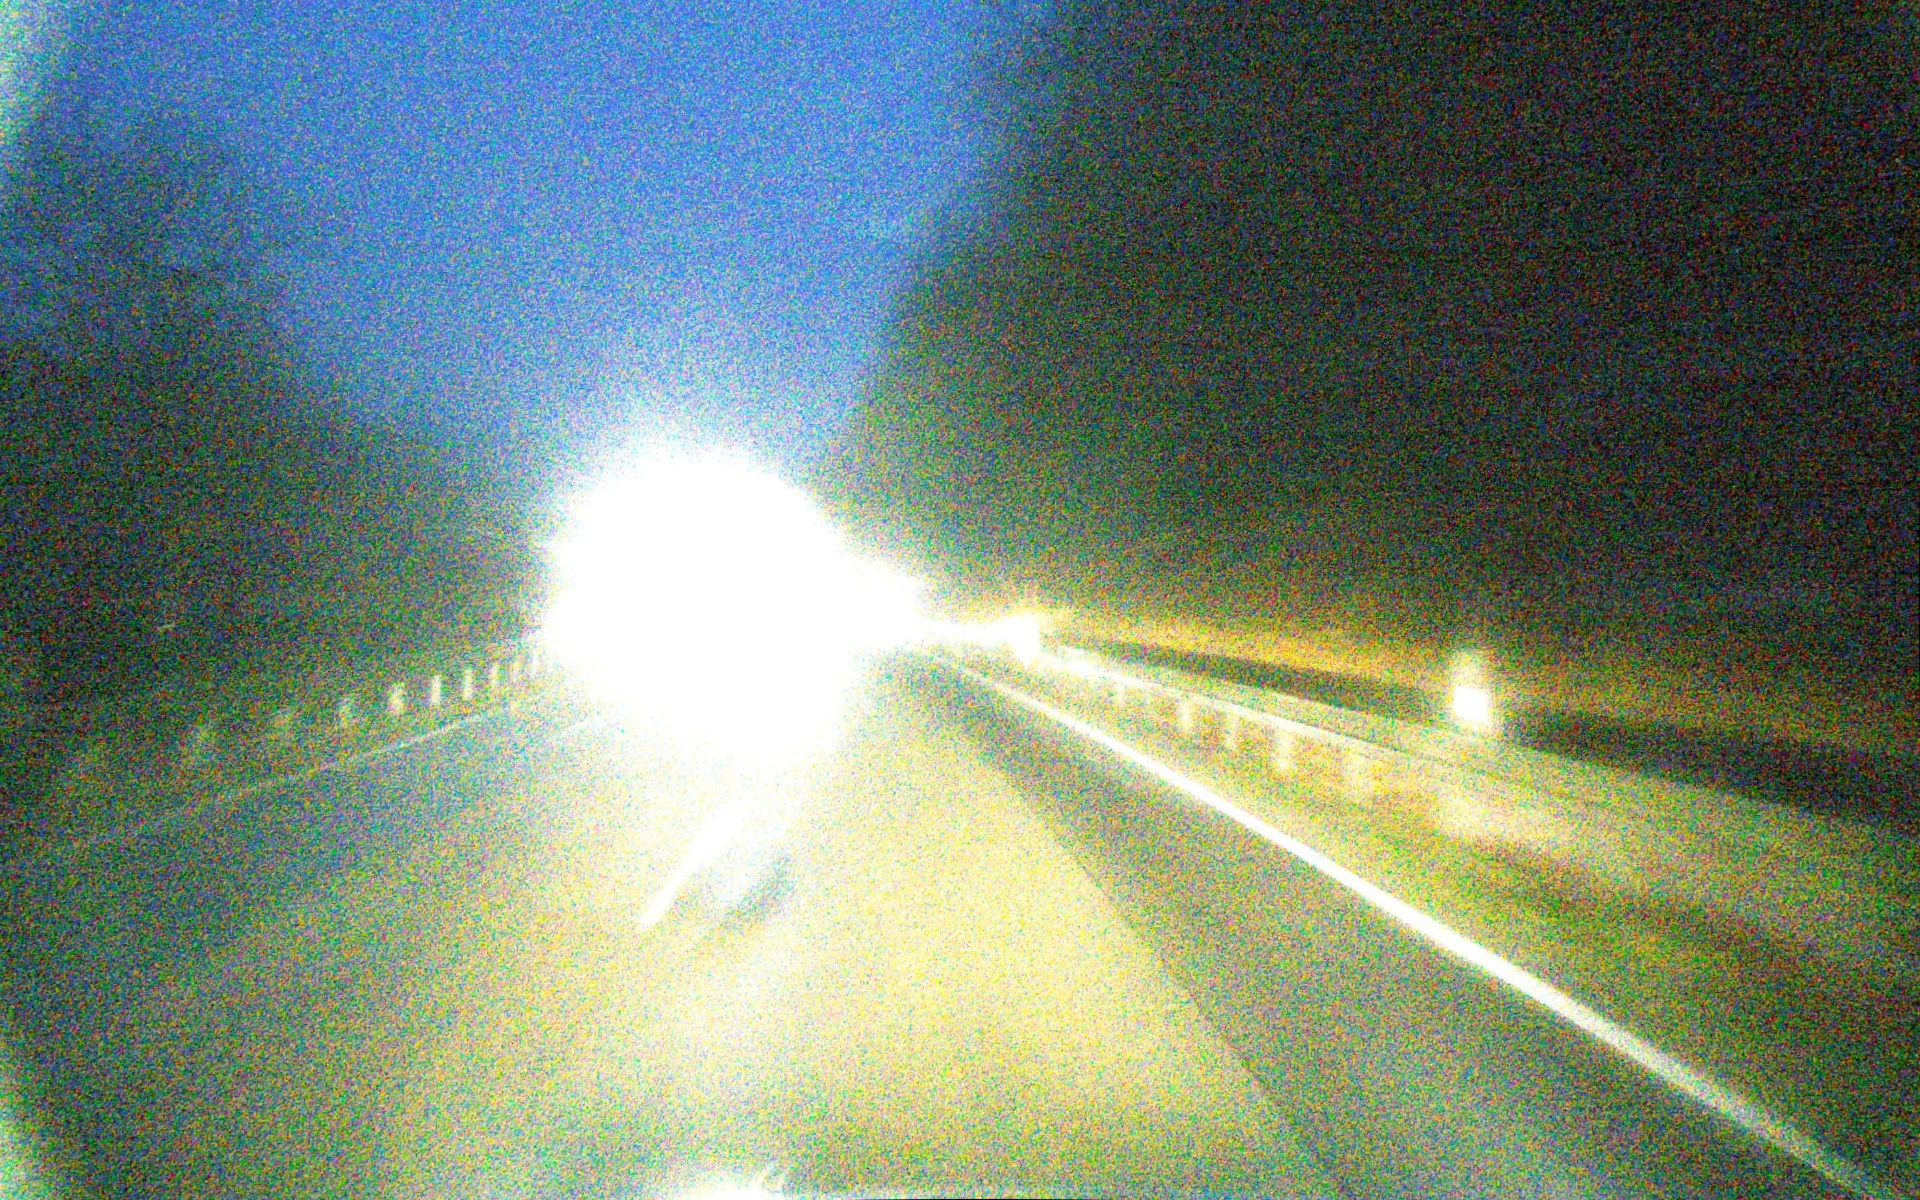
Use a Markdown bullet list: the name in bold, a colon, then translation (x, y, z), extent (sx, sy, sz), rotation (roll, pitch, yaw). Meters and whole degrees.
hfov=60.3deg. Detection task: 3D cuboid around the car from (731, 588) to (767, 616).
- **car**: translation (-12.118, 0.104, 95.098), extent (1.955, 1.497, 3.831), rotation (2, 0, -7)
